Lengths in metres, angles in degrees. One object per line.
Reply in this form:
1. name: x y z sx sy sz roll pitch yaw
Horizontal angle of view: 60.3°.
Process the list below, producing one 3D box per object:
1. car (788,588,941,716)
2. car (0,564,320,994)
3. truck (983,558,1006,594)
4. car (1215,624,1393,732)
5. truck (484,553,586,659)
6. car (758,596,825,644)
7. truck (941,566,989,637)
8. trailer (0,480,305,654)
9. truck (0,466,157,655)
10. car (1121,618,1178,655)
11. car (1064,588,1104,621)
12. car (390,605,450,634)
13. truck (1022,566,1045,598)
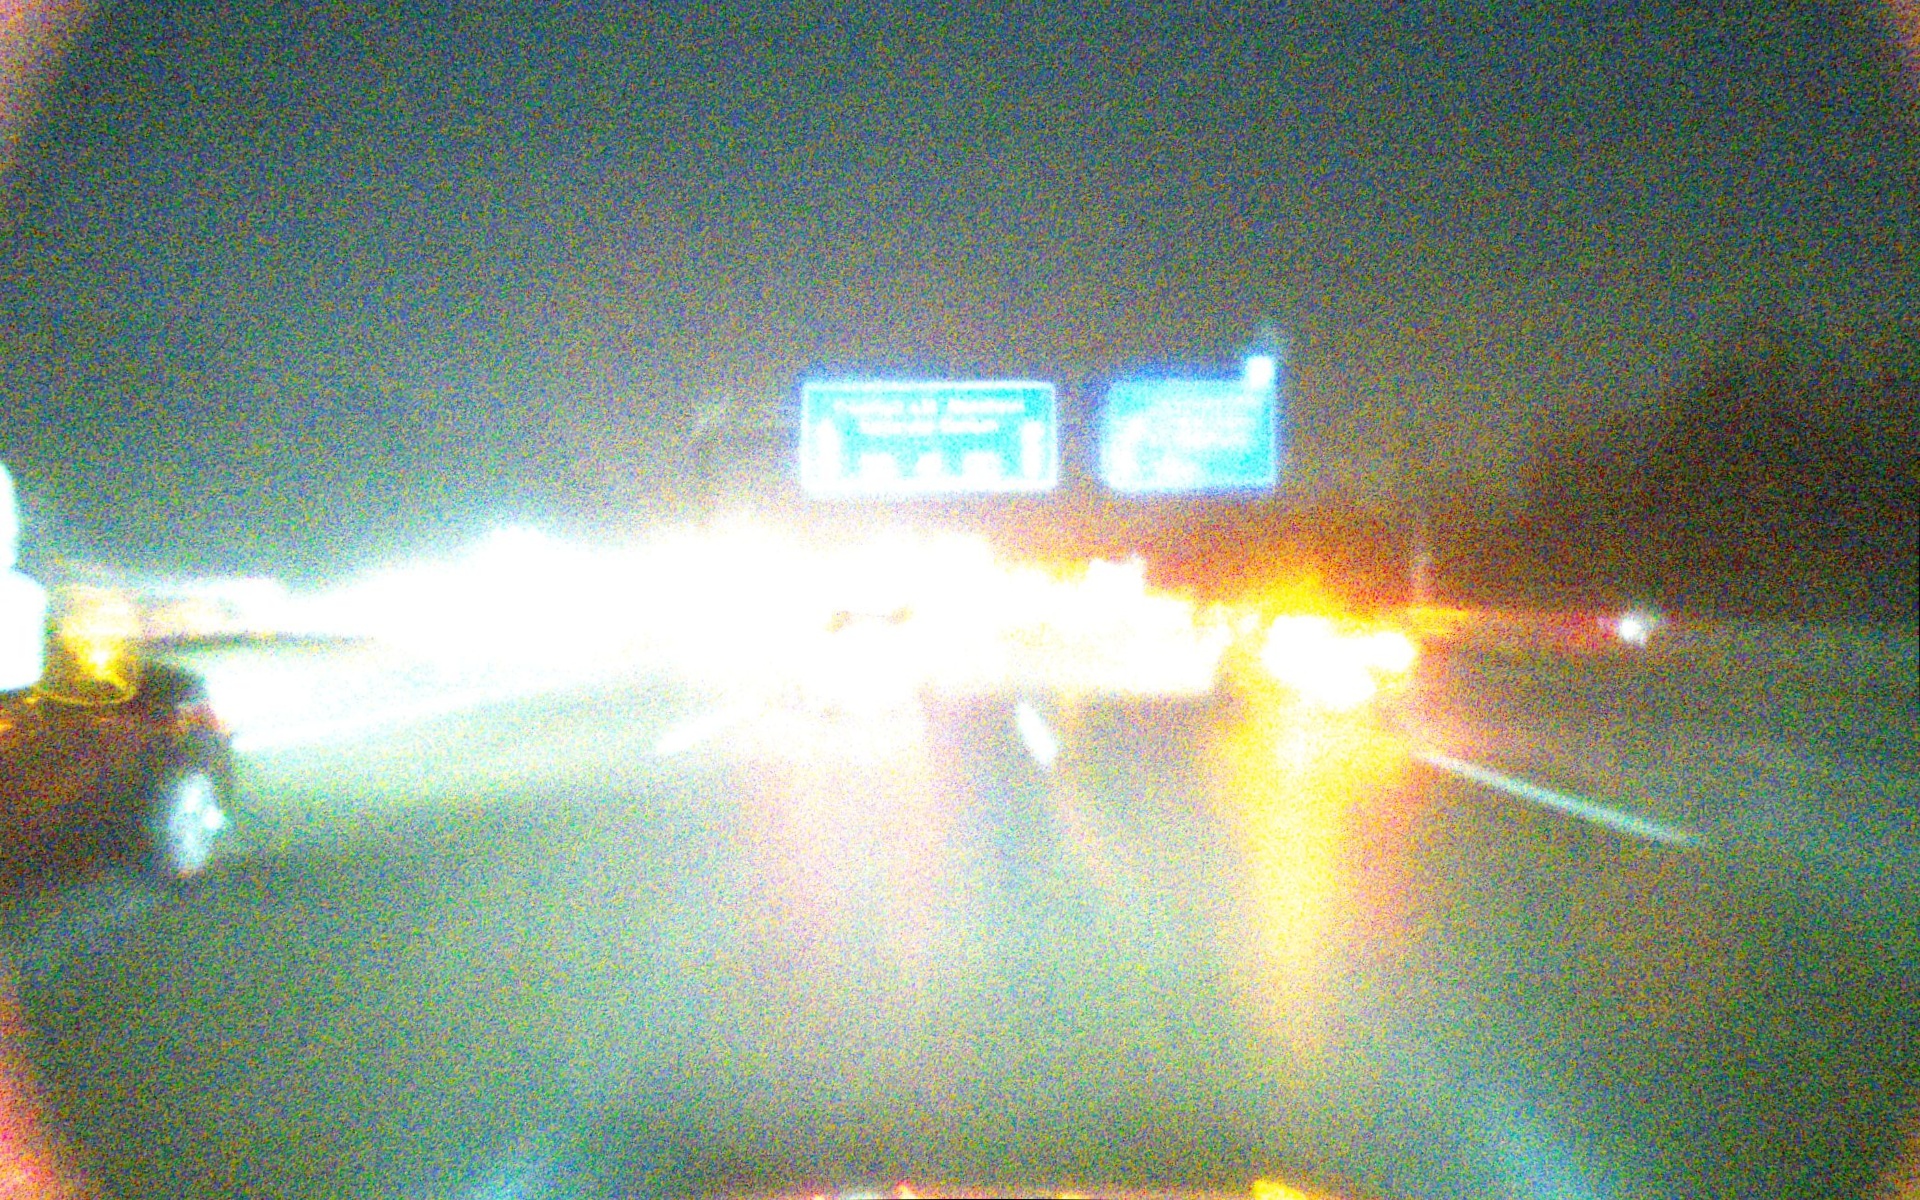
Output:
1. car: -1.158 0.612 21.722 1.765 1.513 4.000 0 0 0
2. car: -4.428 0.646 6.690 1.820 1.567 4.751 0 1 0
3. truck: 3.120 -2.112 149.025 1.952 3.095 6.466 -3 0 1
4. car: 4.485 0.987 21.973 1.549 1.268 3.066 0 0 -4
5. truck: -21.091 0.290 82.576 2.863 4.934 7.577 -3 0 0
6. car: -4.863 0.571 48.095 1.629 1.258 3.760 -3 0 -2
7. truck: 0.282 0.077 77.413 1.952 3.095 6.466 -3 0 1
8. trailer: -20.908 -0.725 43.457 2.642 3.814 12.018 -3 0 -1
9. truck: -20.792 -0.726 36.794 2.642 3.825 6.452 -3 0 -1
10. car: 6.981 1.343 61.115 1.549 1.268 3.066 0 0 -4
11. car: 6.323 0.216 84.770 1.824 1.646 4.001 0 0 1
12. car: -28.374 0.991 87.012 1.528 1.401 4.594 -3 0 0
13. truck: 7.363 -1.775 165.992 1.952 3.095 6.466 -3 0 1
